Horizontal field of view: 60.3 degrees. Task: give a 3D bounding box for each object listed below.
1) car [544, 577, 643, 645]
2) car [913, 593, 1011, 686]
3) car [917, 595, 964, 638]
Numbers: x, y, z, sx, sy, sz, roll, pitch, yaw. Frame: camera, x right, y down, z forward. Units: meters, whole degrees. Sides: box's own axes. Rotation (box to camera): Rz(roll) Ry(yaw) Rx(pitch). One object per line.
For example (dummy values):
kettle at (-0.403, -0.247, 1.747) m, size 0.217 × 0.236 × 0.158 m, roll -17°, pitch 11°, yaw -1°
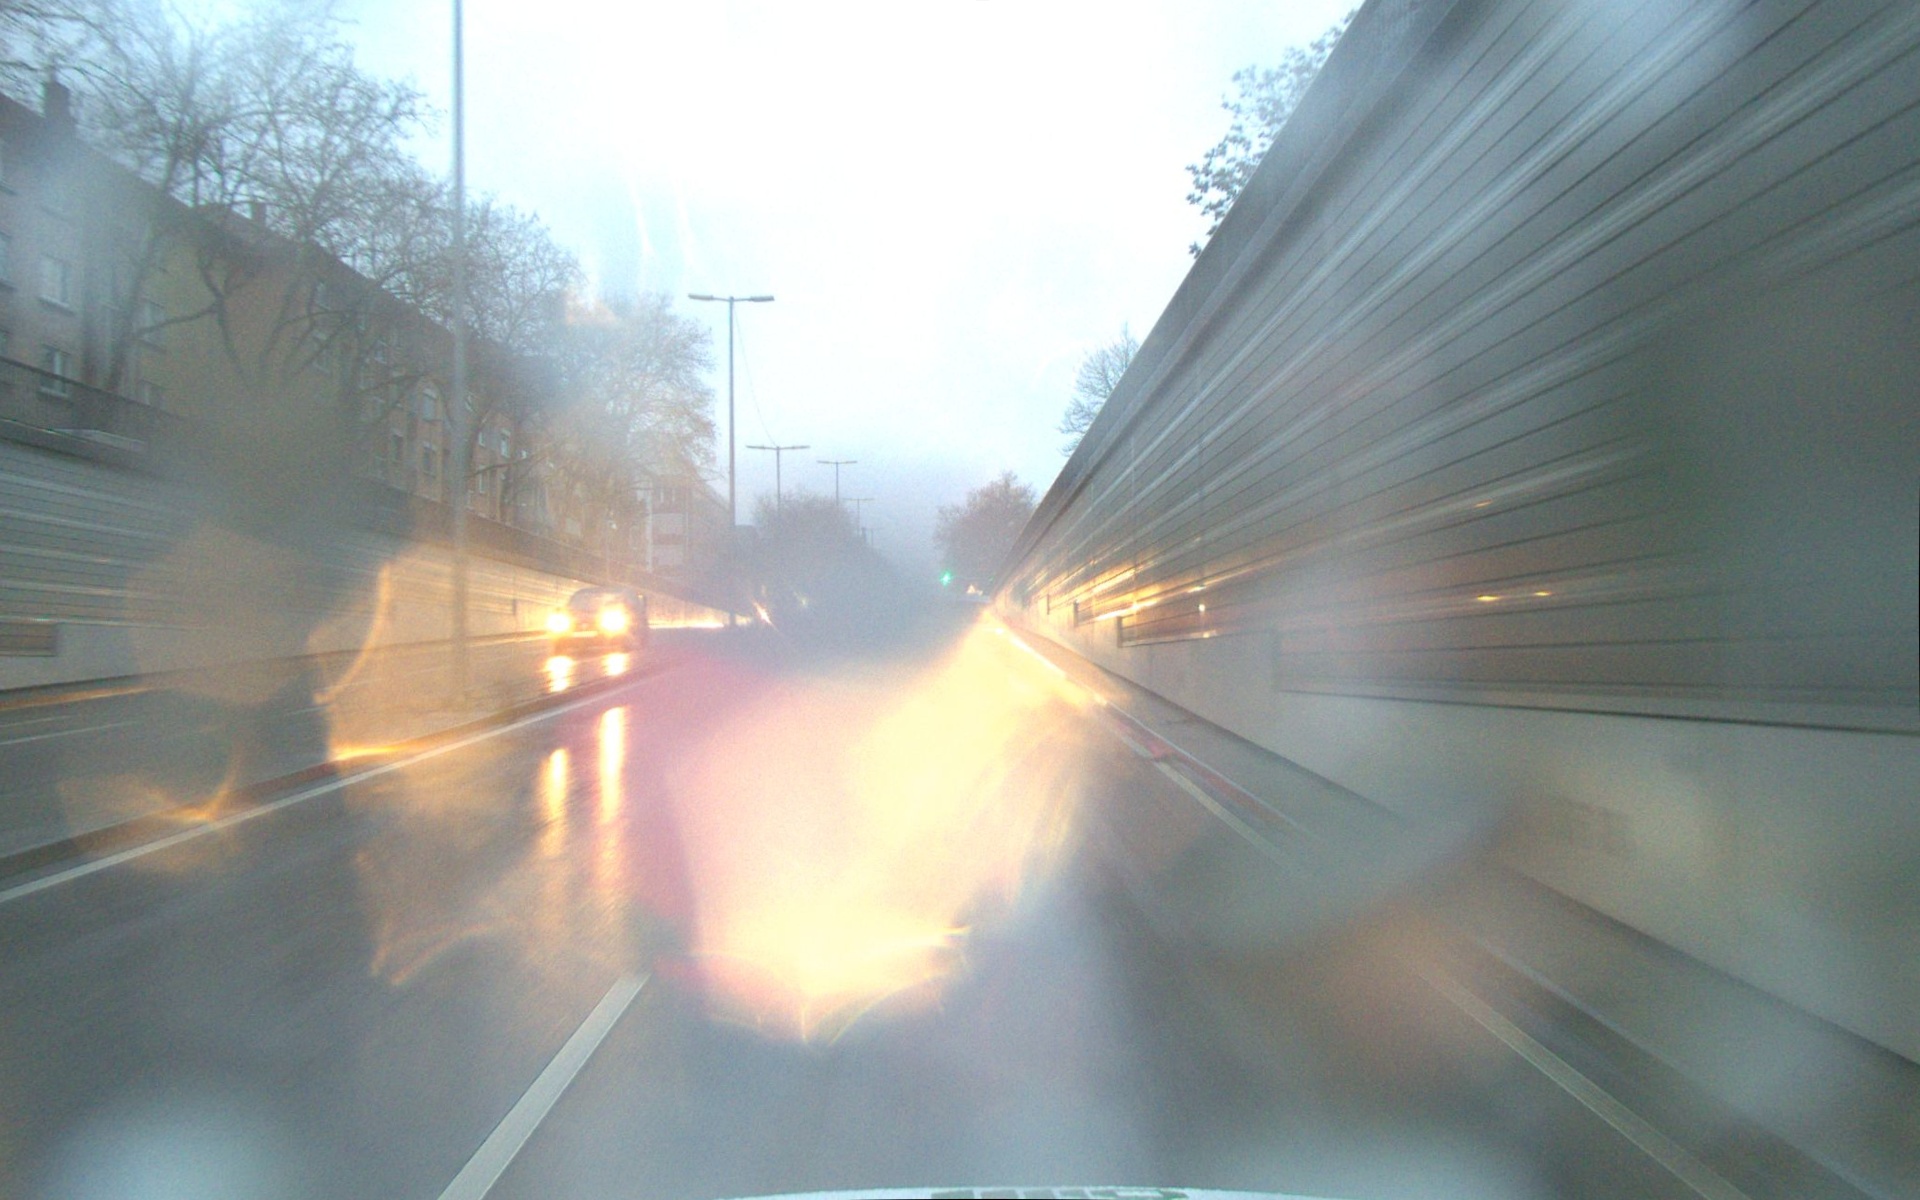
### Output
car at (-8.516, 0.231, 38.688) m, size 1.540 × 1.496 × 3.686 m, roll -1°, pitch 1°, yaw -1°
car at (0.010, 0.658, 27.039) m, size 1.500 × 1.422 × 3.432 m, roll 0°, pitch -2°, yaw -1°
car at (-0.853, 0.733, 70.607) m, size 1.843 × 1.649 × 3.997 m, roll 1°, pitch -3°, yaw -3°
